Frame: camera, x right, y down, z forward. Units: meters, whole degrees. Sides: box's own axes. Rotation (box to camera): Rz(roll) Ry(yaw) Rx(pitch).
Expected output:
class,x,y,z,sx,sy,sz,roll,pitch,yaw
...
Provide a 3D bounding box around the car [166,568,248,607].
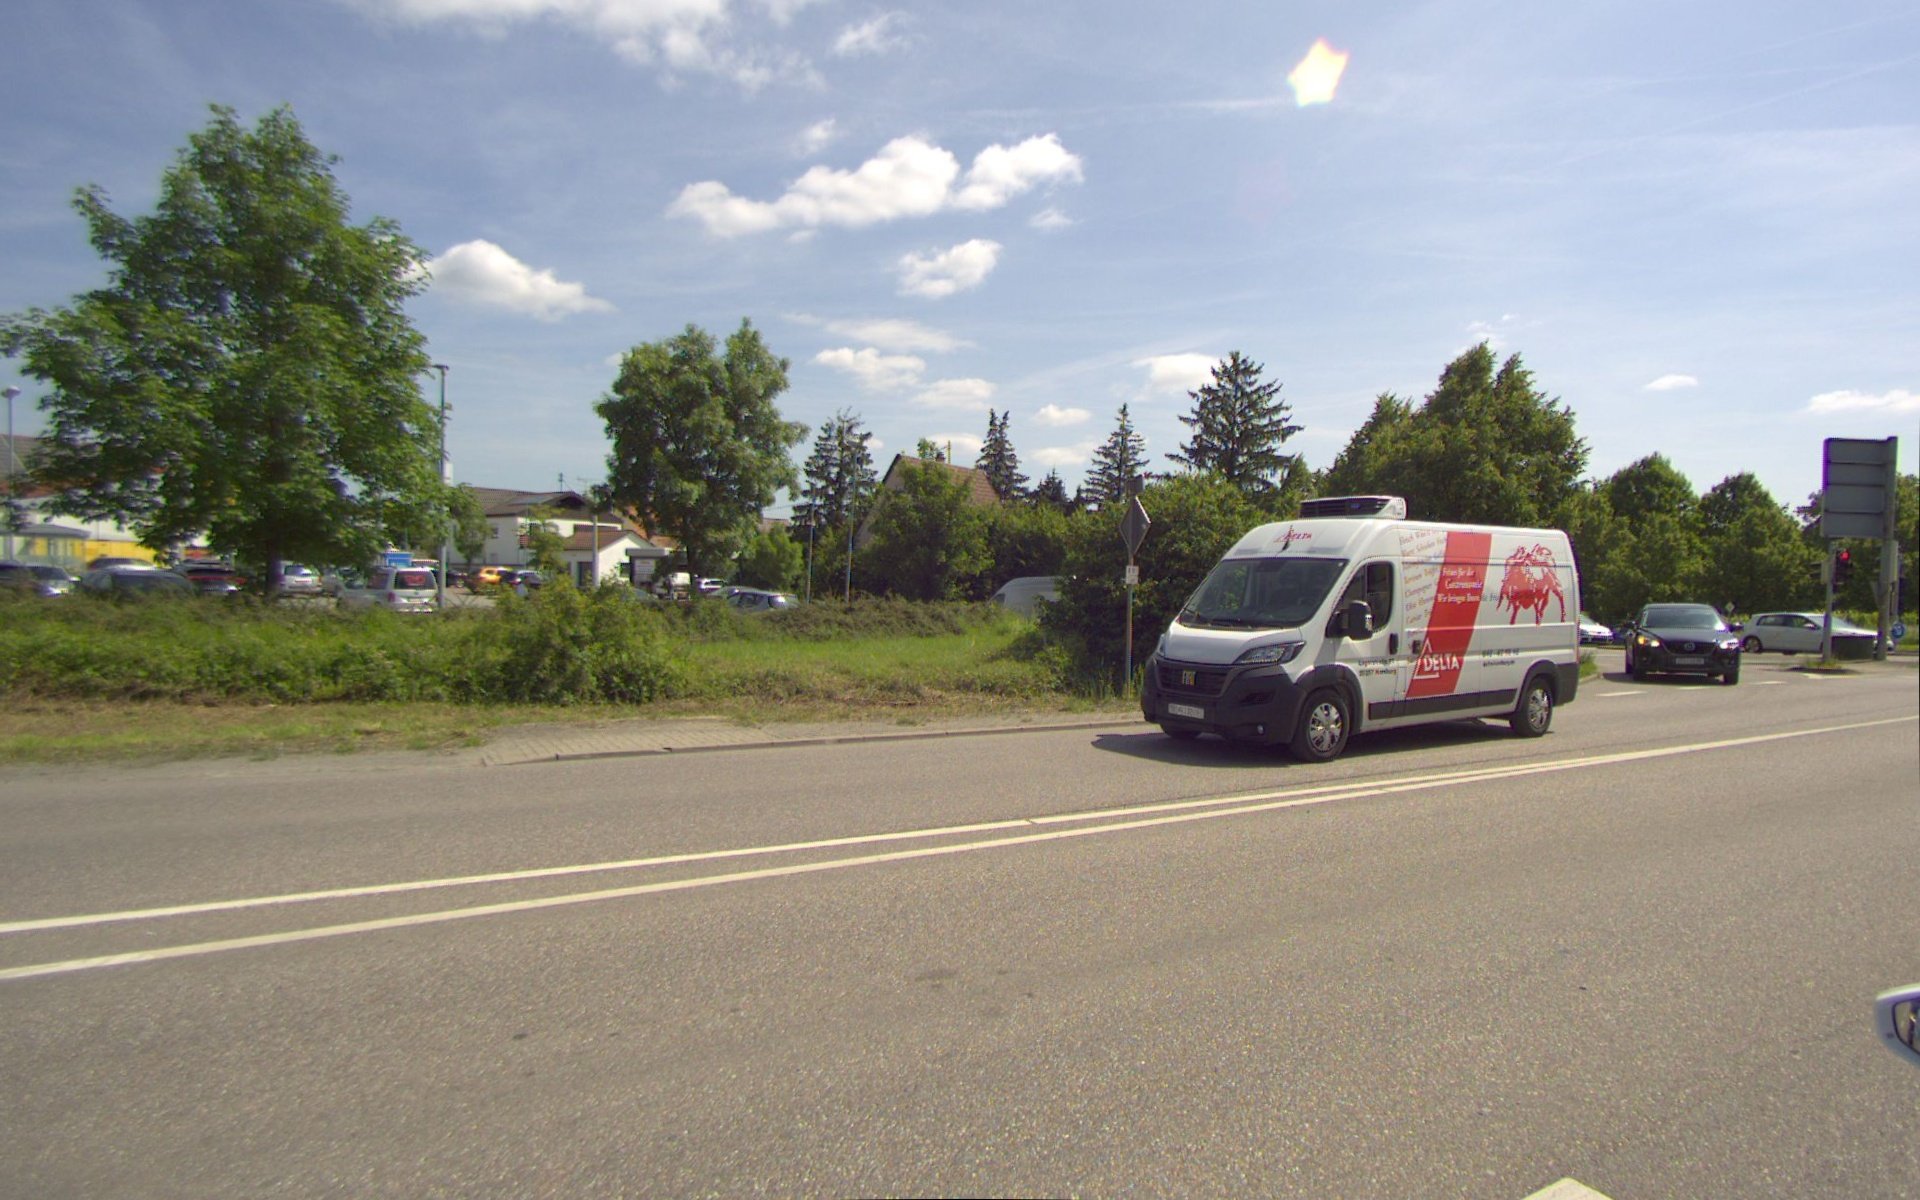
class,x,y,z,sx,sy,sz,roll,pitch,yaw
car,-32.393,-0.550,43.179,4.193,1.562,1.871,2,0,40

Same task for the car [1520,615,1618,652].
class,x,y,z,sx,sy,sz,roll,pitch,yaw
car,26.656,1.444,44.149,1.760,1.436,4.047,0,1,-2

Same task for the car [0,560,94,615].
class,x,y,z,sx,sy,sz,roll,pitch,yaw
car,-28.220,-0.396,30.755,3.936,1.549,1.772,2,0,37

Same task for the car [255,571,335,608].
class,x,y,z,sx,sy,sz,roll,pitch,yaw
car,-30.282,-0.477,45.690,4.193,1.562,1.871,2,0,40

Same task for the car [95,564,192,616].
class,x,y,z,sx,sy,sz,roll,pitch,yaw
car,-26.504,-0.325,32.569,3.941,1.549,1.770,2,0,41

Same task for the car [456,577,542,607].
class,x,y,z,sx,sy,sz,roll,pitch,yaw
car,-27.122,-0.460,59.239,1.849,1.562,4.243,2,0,37

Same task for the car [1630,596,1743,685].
class,x,y,z,sx,sy,sz,roll,pitch,yaw
car,15.944,0.824,22.189,1.841,1.773,4.098,1,0,34

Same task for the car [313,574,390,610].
class,x,y,z,sx,sy,sz,roll,pitch,yaw
car,-29.004,-0.401,47.833,4.193,1.562,1.871,2,0,40

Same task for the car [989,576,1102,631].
class,x,y,z,sx,sy,sz,roll,pitch,yaw
car,3.697,0.142,43.853,4.524,2.209,1.992,2,1,37

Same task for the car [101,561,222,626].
class,x,y,z,sx,sy,sz,roll,pitch,yaw
car,-22.841,-0.186,28.692,3.939,1.711,1.918,2,0,40

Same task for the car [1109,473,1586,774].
class,x,y,z,sx,sy,sz,roll,pitch,yaw
car,4.630,0.226,11.529,5.923,2.690,2.104,1,1,-34

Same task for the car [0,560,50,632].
class,x,y,z,sx,sy,sz,roll,pitch,yaw
car,-24.798,-0.151,25.572,3.939,1.697,1.903,3,1,40

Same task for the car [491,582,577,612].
class,x,y,z,sx,sy,sz,roll,pitch,yaw
car,-24.544,-0.173,57.984,1.849,1.562,4.243,2,0,37

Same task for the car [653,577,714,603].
class,x,y,z,sx,sy,sz,roll,pitch,yaw
car,-20.170,-0.704,73.426,1.866,1.782,3.988,2,0,35

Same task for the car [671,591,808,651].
class,x,y,z,sx,sy,sz,roll,pitch,yaw
car,-7.074,0.648,32.209,3.928,1.751,1.997,2,0,29

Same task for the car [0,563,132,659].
class,x,y,z,sx,sy,sz,roll,pitch,yaw
car,-17.550,0.181,19.471,3.941,1.679,1.686,2,0,42

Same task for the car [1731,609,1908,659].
class,x,y,z,sx,sy,sz,roll,pitch,yaw
car,28.275,1.073,33.230,1.778,1.480,4.251,0,1,-11

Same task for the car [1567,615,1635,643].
class,x,y,z,sx,sy,sz,roll,pitch,yaw
car,37.539,1.683,58.935,1.835,1.568,4.116,0,-1,8

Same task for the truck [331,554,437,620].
class,x,y,z,sx,sy,sz,roll,pitch,yaw
truck,-22.334,-0.510,38.931,3.932,2.397,1.994,2,0,34

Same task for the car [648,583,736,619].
class,x,y,z,sx,sy,sz,roll,pitch,yaw
car,-13.577,0.077,51.032,1.883,1.662,3.984,2,0,38

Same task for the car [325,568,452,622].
class,x,y,z,sx,sy,sz,roll,pitch,yaw
car,-19.310,-0.194,33.901,4.353,1.717,1.994,1,0,34
